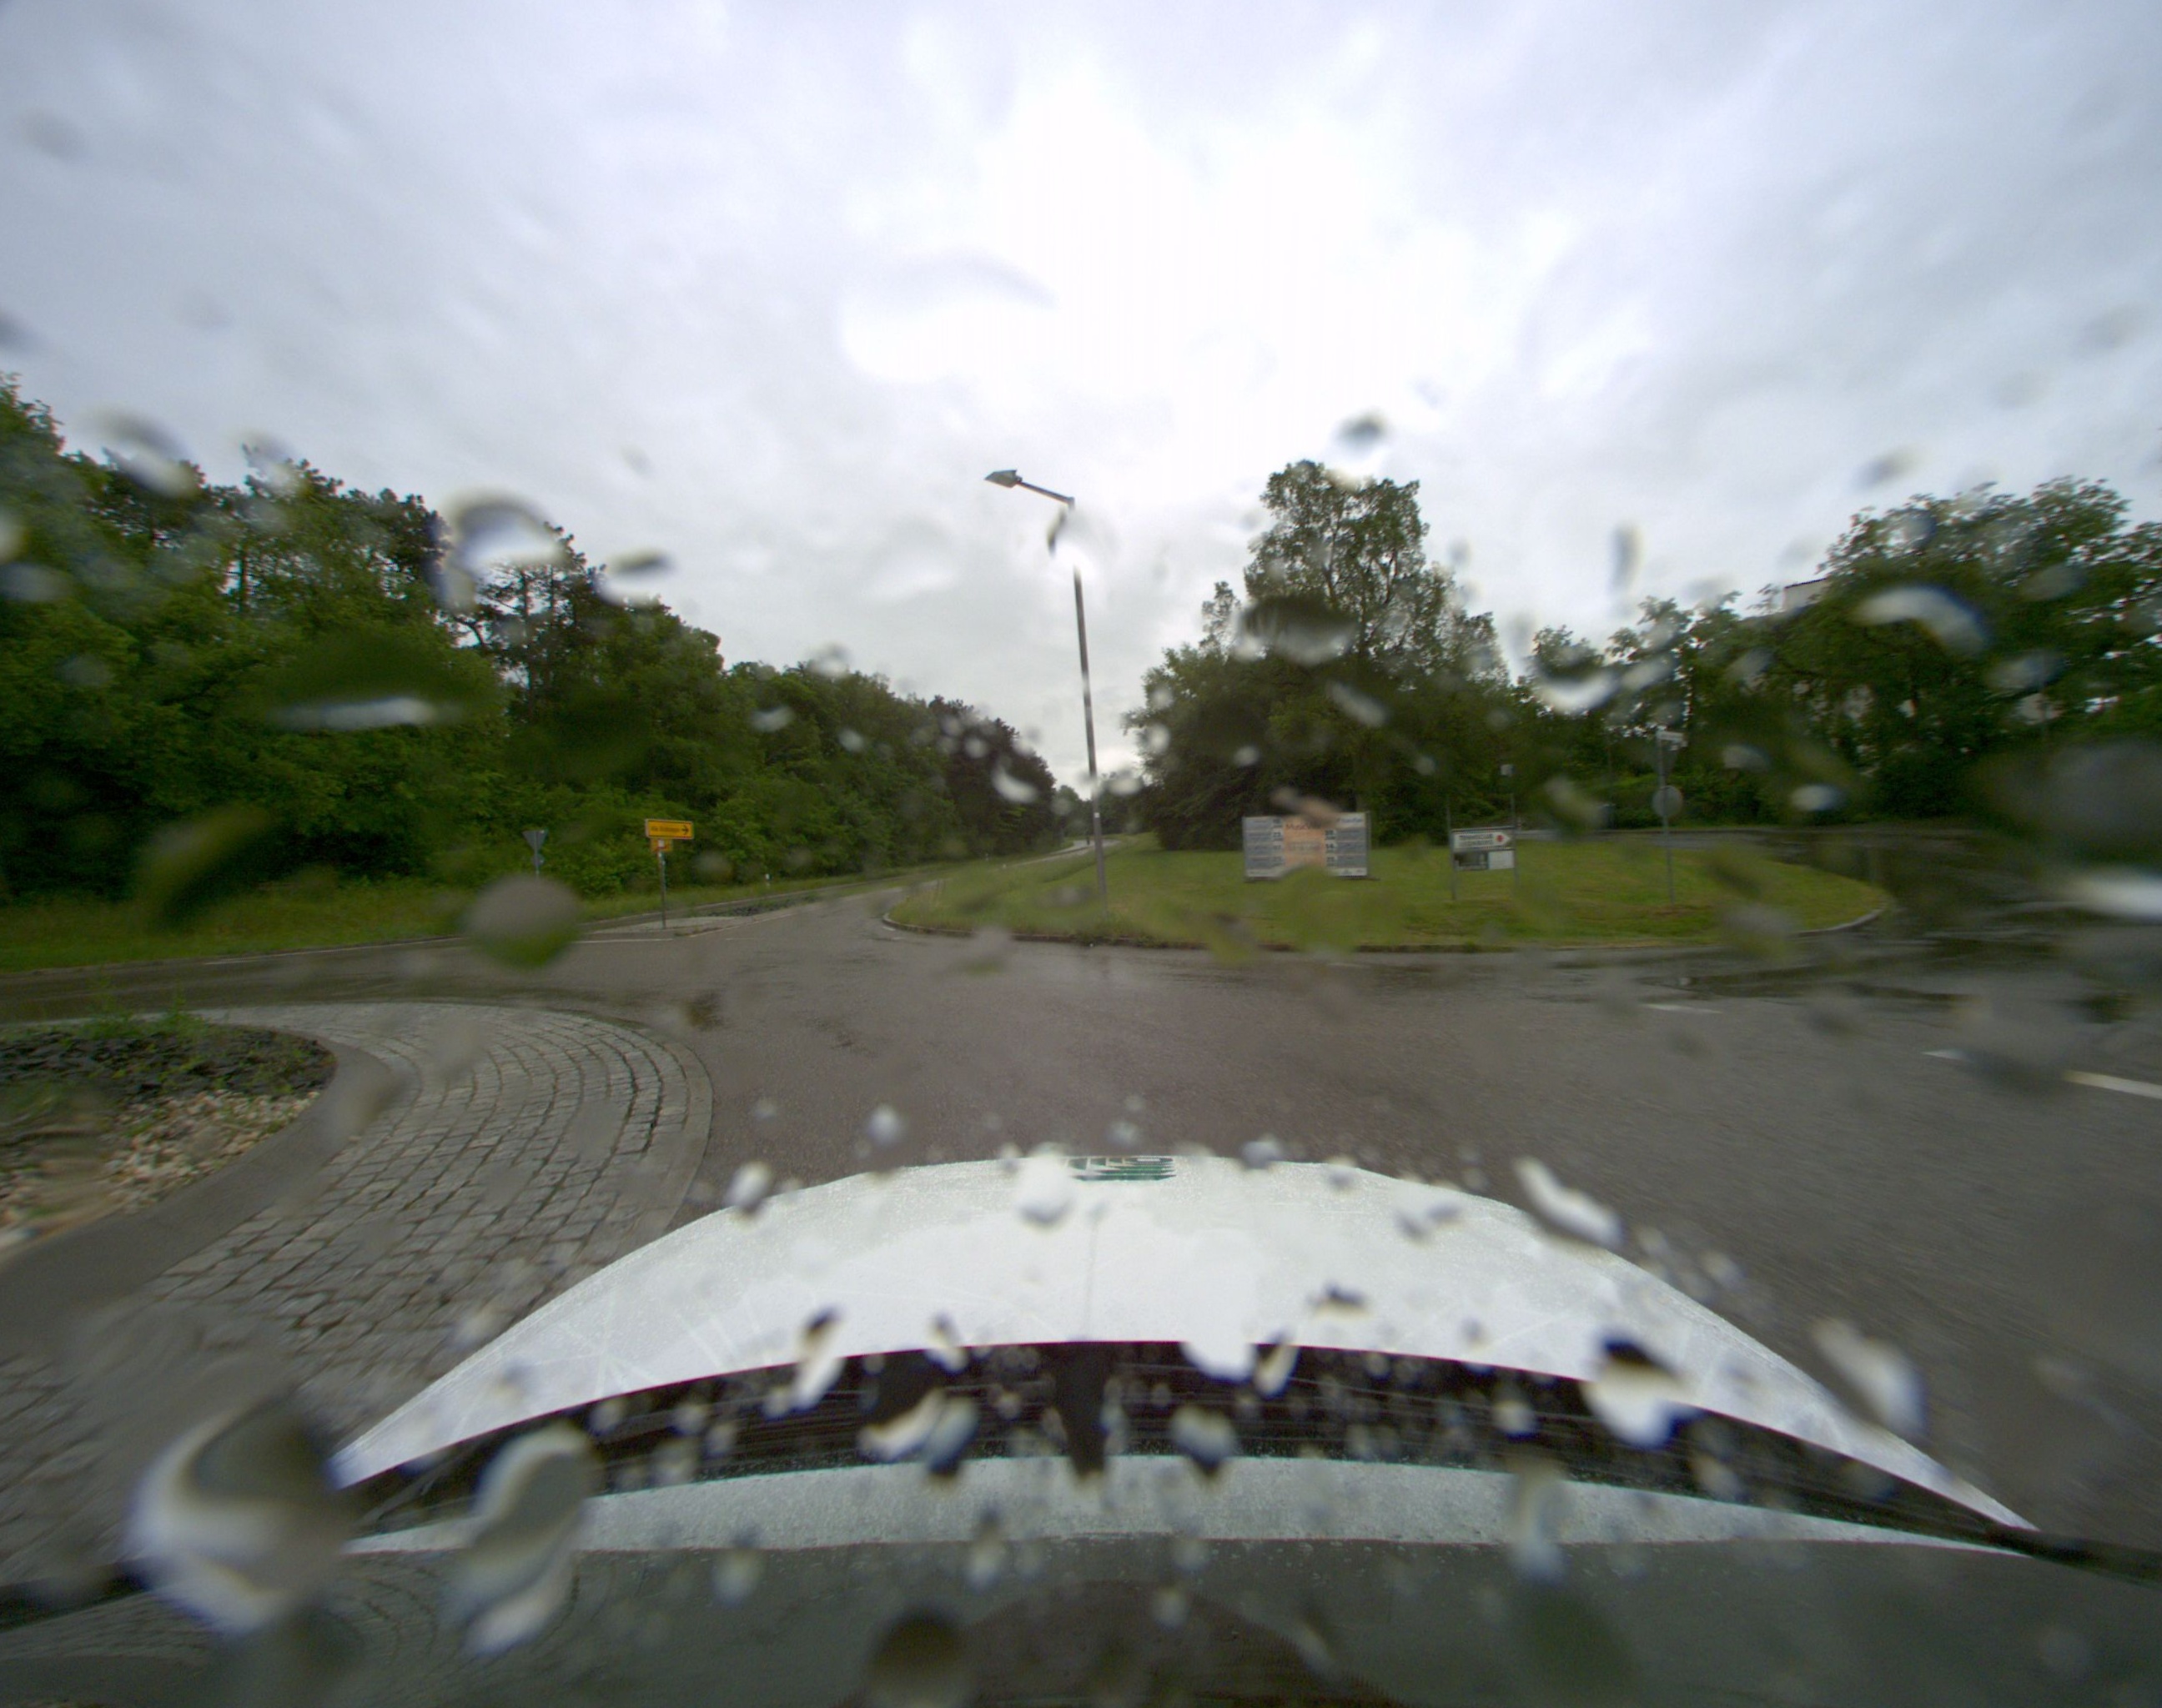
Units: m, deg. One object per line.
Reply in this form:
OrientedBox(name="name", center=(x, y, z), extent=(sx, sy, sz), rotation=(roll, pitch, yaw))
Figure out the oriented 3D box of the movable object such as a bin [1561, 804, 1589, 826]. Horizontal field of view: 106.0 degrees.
OrientedBox(name="movable object such as a bin", center=(33.764, -2.662, 55.656), extent=(1.186, 1.437, 1.434), rotation=(-4, 0, 13))
